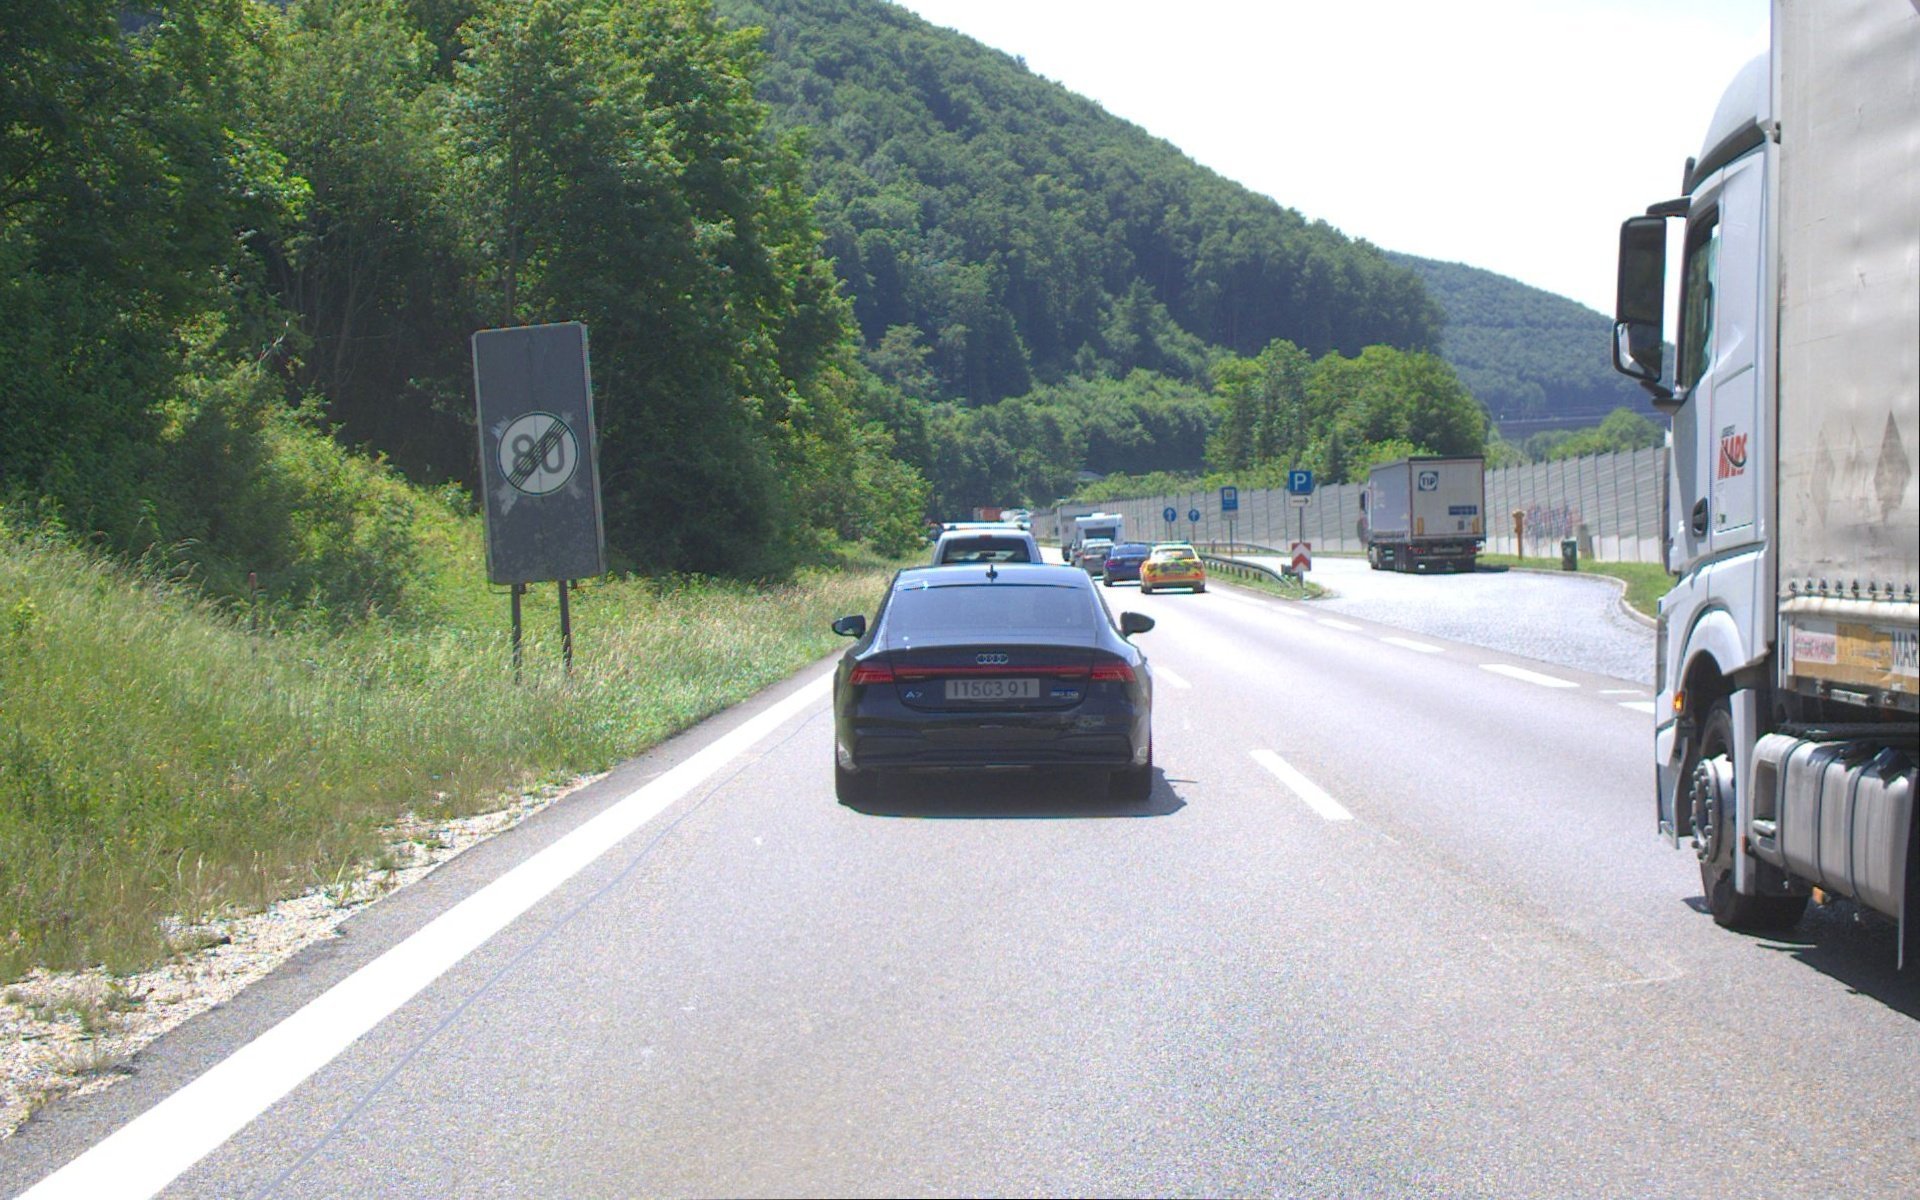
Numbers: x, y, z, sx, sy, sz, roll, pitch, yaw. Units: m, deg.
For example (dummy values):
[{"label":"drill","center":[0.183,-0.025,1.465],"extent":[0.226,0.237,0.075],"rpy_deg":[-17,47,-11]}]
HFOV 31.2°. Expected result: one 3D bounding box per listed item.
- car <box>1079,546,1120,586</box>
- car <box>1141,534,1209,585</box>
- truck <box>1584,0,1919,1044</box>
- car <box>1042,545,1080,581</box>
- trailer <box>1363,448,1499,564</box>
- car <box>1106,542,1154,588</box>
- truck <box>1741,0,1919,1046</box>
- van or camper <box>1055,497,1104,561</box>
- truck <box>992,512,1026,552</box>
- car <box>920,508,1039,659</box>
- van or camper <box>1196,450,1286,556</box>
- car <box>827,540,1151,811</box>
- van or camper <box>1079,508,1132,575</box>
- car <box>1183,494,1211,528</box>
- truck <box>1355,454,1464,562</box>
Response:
[{"label":"car","center":[5.573,-1.357,137.438],"extent":[1.530,1.520,3.597],"rpy_deg":[1,0,1]},{"label":"car","center":[6.418,-1.217,103.015],"extent":[1.879,1.493,4.000],"rpy_deg":[0,1,1]},{"label":"truck","center":[4.157,-0.729,12.328],"extent":[2.719,4.054,5.754],"rpy_deg":[0,0,-1]},{"label":"car","center":[5.724,-2.103,195.267],"extent":[1.993,2.007,4.000],"rpy_deg":[1,0,-1]},{"label":"trailer","center":[16.567,-3.274,121.760],"extent":[3.412,3.887,11.151],"rpy_deg":[0,1,1]},{"label":"car","center":[5.819,-1.206,118.085],"extent":[1.530,1.520,3.597],"rpy_deg":[1,0,1]},{"label":"truck","center":[4.225,-0.697,5.413],"extent":[2.726,4.054,13.742],"rpy_deg":[0,0,-1]},{"label":"van or camper","center":[7.522,-4.444,217.065],"extent":[2.794,3.894,6.167],"rpy_deg":[1,0,-1]},{"label":"truck","center":[3.391,-4.688,237.258],"extent":[2.065,2.597,5.613],"rpy_deg":[2,1,3]},{"label":"car","center":[0.269,-0.241,47.476],"extent":[1.521,1.961,3.514],"rpy_deg":[2,0,0]},{"label":"van or camper","center":[10.677,-3.649,131.190],"extent":[2.794,3.828,6.167],"rpy_deg":[1,0,-1]},{"label":"car","center":[0.219,0.402,21.089],"extent":[1.812,1.509,3.514],"rpy_deg":[0,1,2]},{"label":"van or camper","center":[7.114,-2.849,168.172],"extent":[2.429,3.144,5.203],"rpy_deg":[1,0,1]},{"label":"car","center":[14.526,-5.452,210.702],"extent":[1.576,2.007,3.428],"rpy_deg":[-1,1,1]},{"label":"truck","center":[16.670,-3.403,127.929],"extent":[3.412,3.887,5.387],"rpy_deg":[0,1,1]}]
